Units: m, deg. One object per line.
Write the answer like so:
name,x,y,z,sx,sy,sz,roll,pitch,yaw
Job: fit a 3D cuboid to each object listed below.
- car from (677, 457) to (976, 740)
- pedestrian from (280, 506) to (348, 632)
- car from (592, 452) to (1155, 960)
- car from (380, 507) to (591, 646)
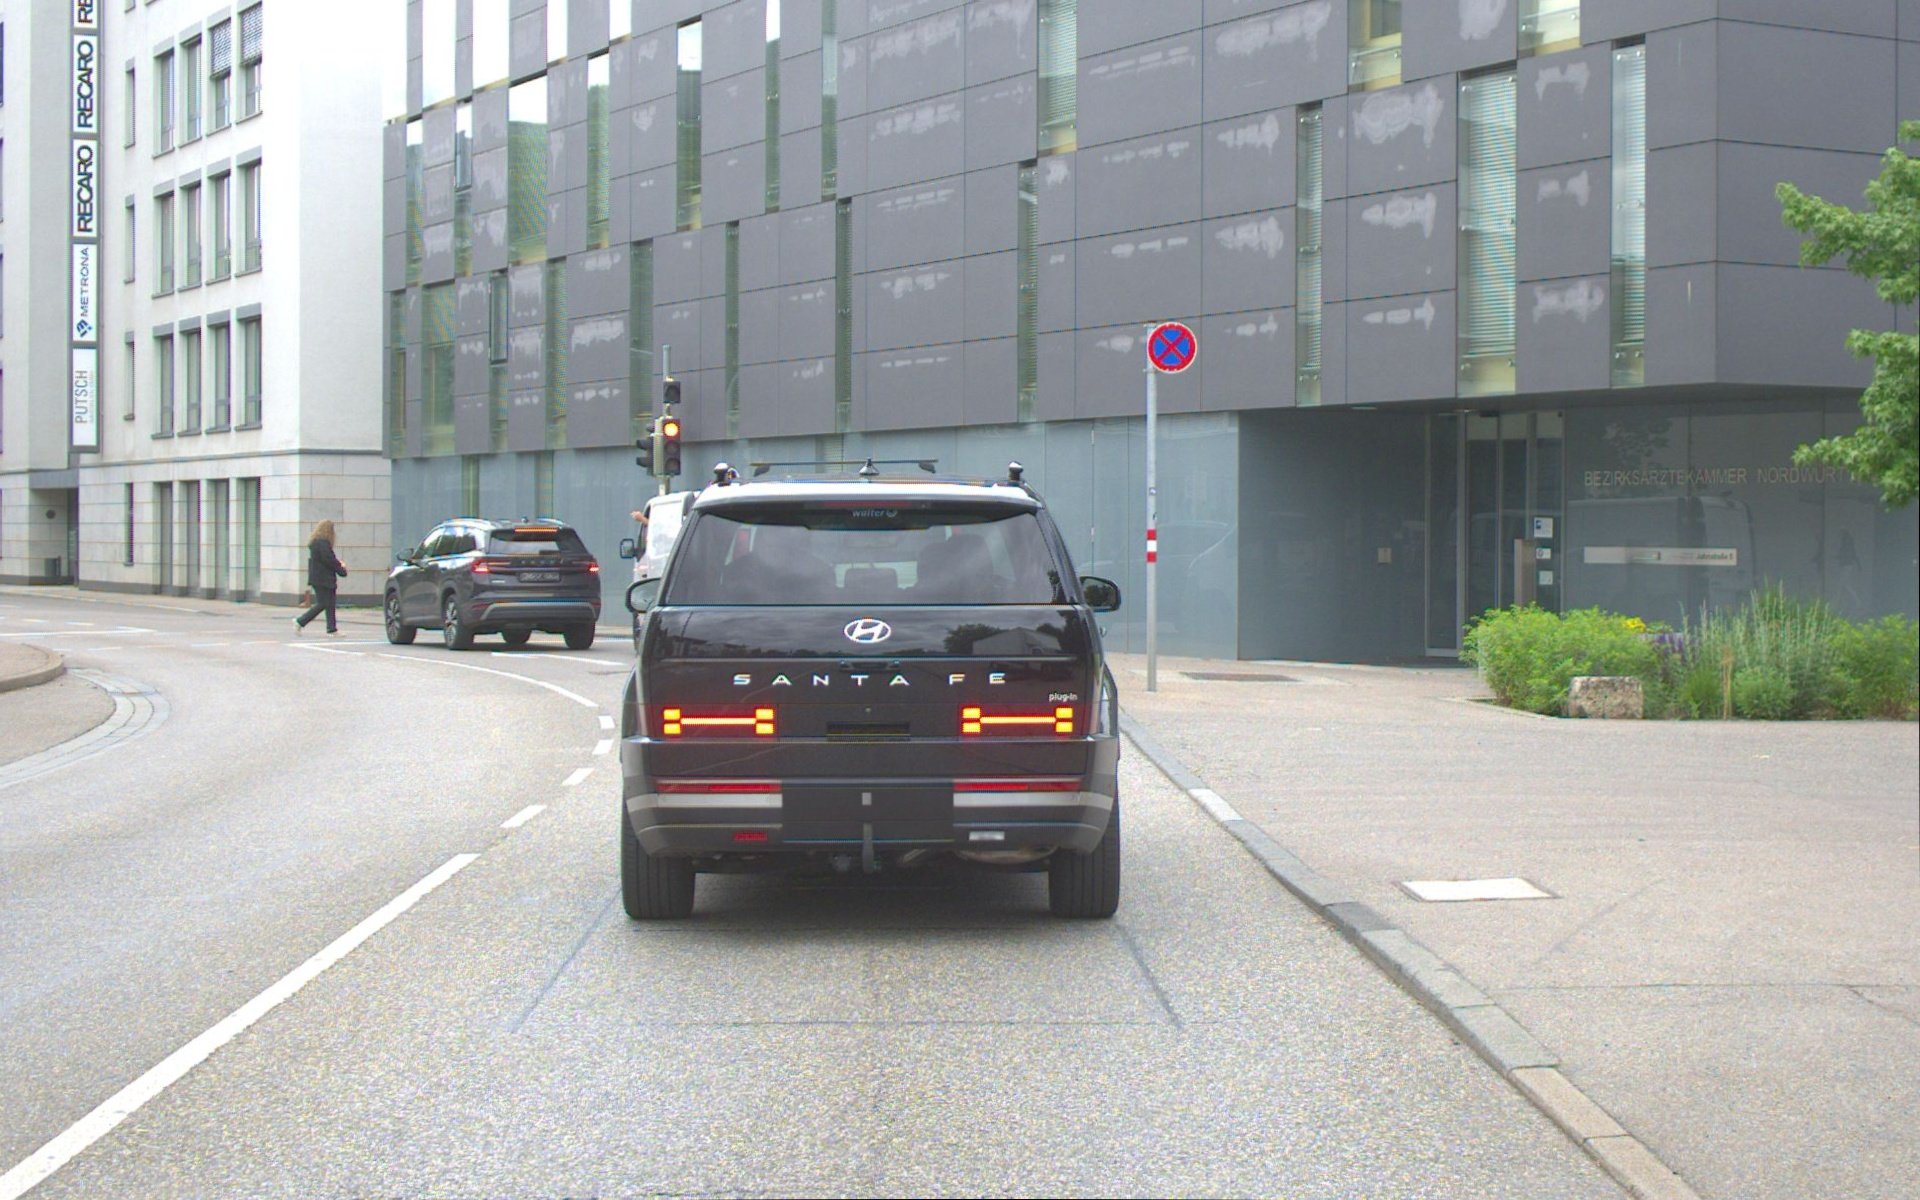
car,-1.135,-0.074,26.932,1.855,2.026,4.438,0,2,-9
pedestrian,-9.279,-0.449,49.362,0.938,1.794,0.591,0,1,-13
car,-0.440,0.328,14.078,1.915,1.719,4.171,2,1,-4
car,-6.164,-0.316,44.306,1.847,1.671,4.376,-1,1,-19
